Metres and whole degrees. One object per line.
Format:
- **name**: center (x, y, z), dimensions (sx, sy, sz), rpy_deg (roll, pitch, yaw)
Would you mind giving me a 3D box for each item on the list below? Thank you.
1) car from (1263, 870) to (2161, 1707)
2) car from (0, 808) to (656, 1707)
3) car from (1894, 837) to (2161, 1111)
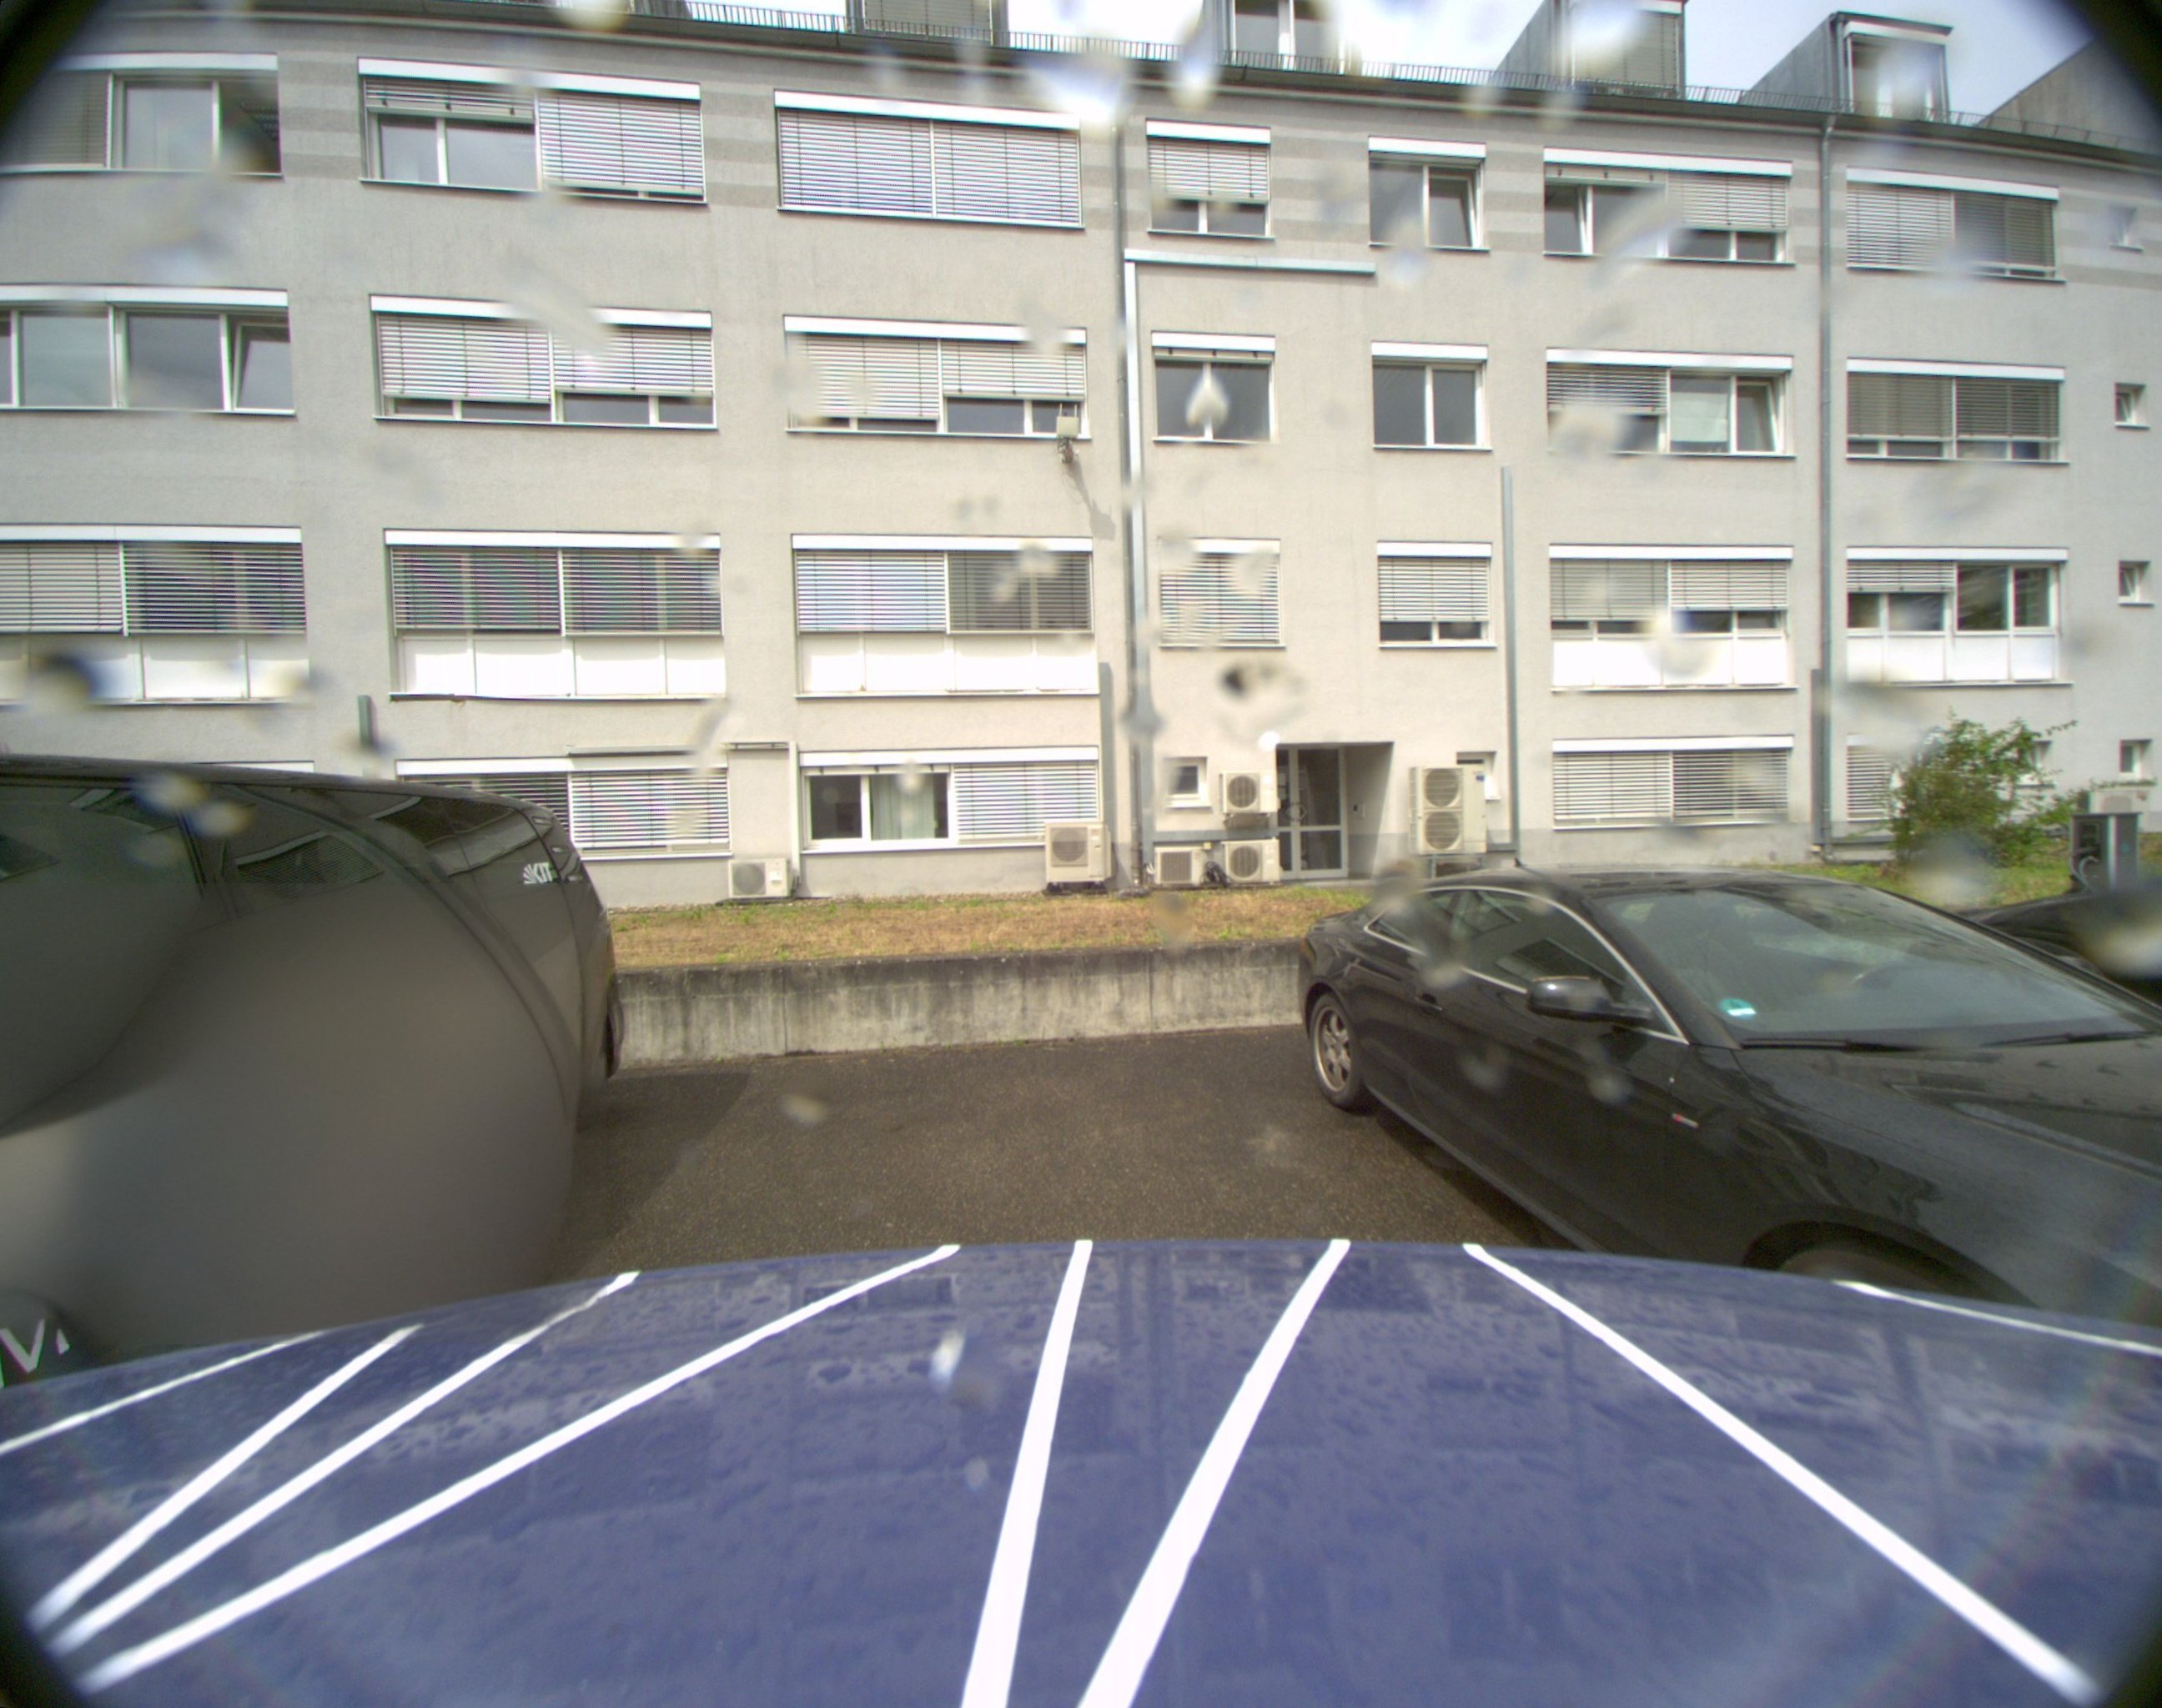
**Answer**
- **car**: center (2.304, 0.881, 2.809), dimensions (1.762, 1.344, 4.525), rpy_deg (-3, 2, -6)
- **car**: center (-3.322, 0.851, 2.131), dimensions (1.970, 1.854, 4.743), rpy_deg (-2, 2, -7)
- **car**: center (6.920, 0.689, 3.379), dimensions (1.763, 1.435, 4.312), rpy_deg (-3, 2, -7)
